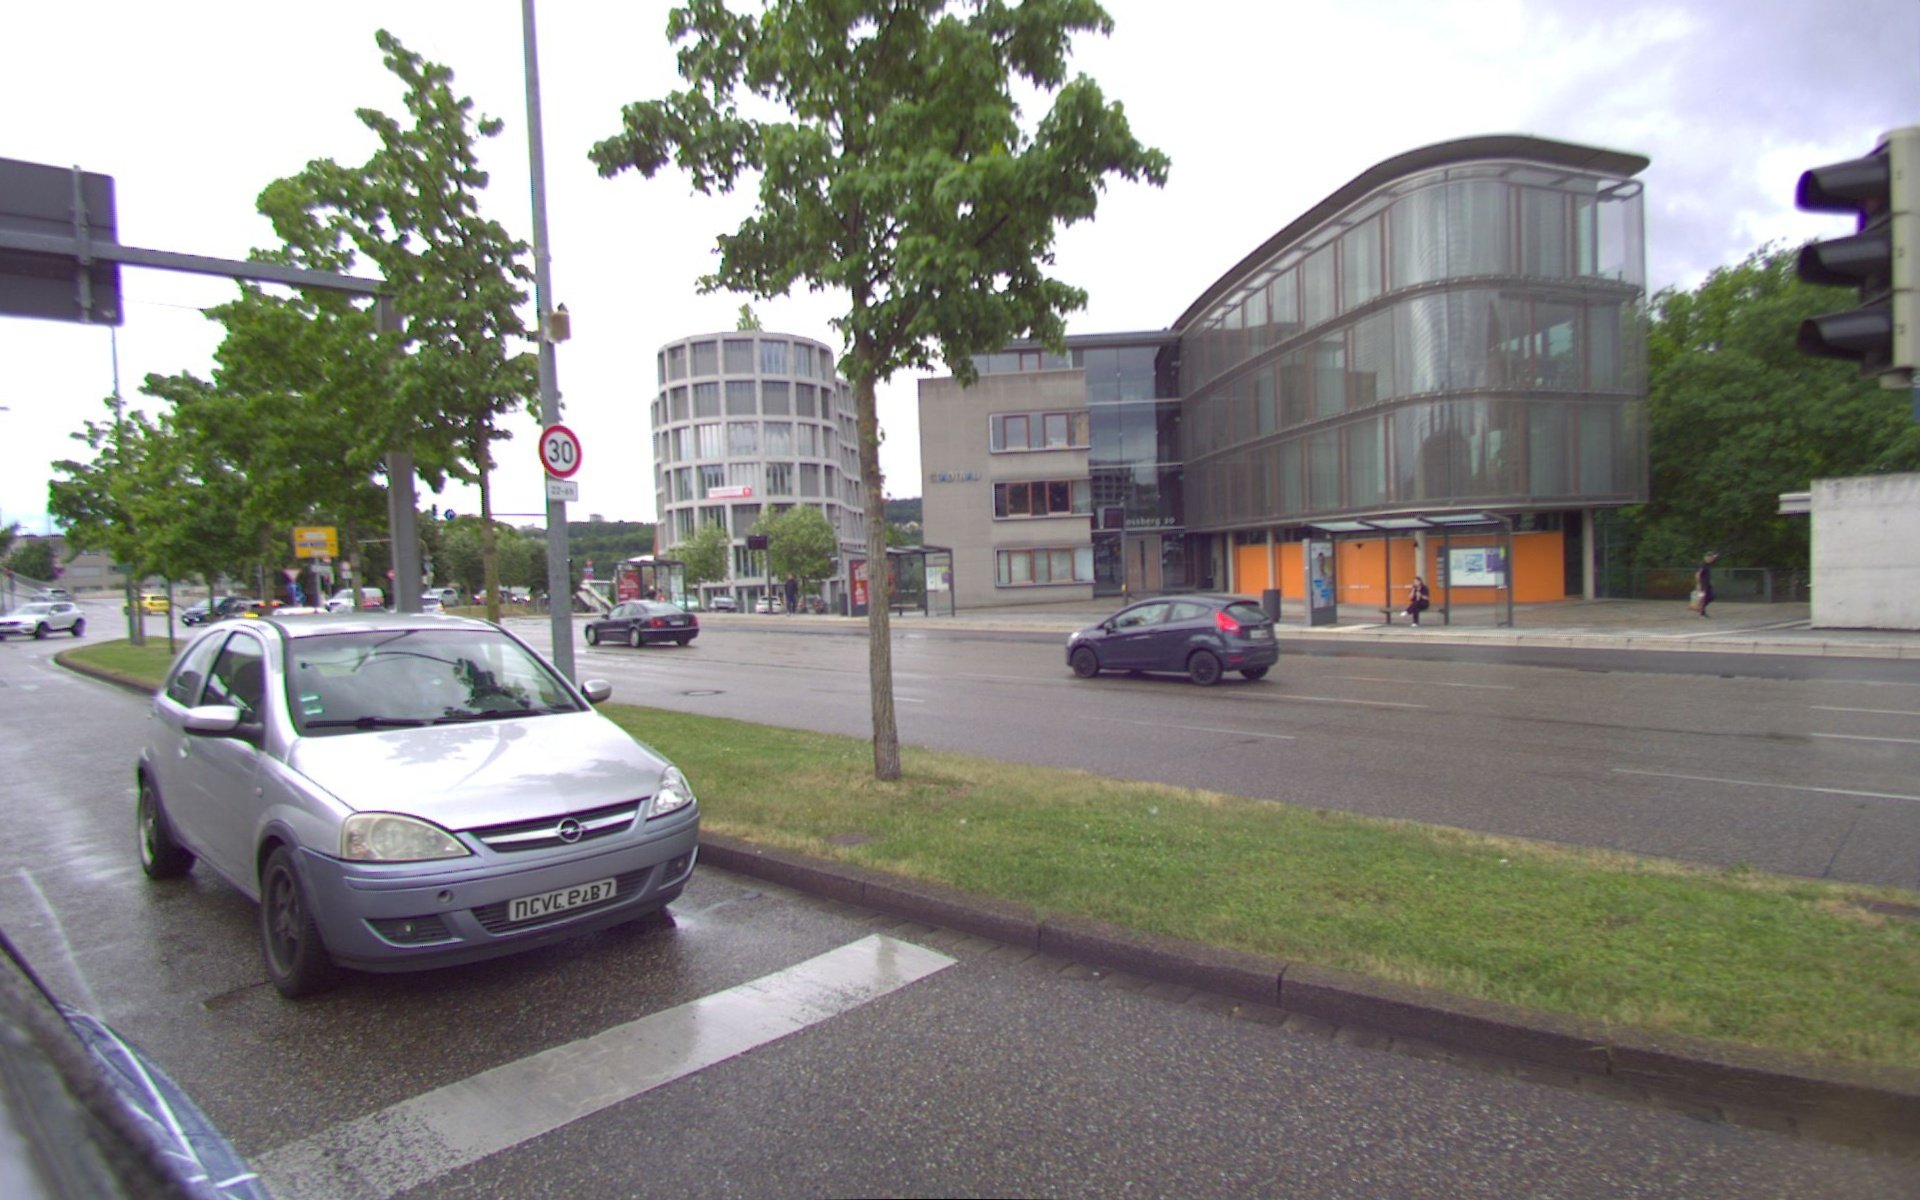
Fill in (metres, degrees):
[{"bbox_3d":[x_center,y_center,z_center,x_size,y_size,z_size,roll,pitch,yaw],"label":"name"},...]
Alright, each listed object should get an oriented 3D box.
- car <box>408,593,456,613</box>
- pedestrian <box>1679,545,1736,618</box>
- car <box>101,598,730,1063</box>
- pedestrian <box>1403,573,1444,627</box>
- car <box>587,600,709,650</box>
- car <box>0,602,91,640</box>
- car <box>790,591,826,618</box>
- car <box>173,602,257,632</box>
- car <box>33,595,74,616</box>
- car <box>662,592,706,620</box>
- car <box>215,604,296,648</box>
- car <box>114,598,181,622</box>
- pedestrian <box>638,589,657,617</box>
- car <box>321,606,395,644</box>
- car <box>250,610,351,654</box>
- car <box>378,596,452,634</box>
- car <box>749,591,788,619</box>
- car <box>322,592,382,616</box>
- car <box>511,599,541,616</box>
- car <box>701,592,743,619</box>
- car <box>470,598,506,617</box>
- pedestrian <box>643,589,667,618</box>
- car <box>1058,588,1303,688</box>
[{"bbox_3d":[-44.394,0.244,85.254,1.850,1.646,4.285,0,0,-1],"label":"car"},{"bbox_3d":[19.109,-0.462,25.875,0.773,1.768,0.828,-7,3,-26],"label":"pedestrian"},{"bbox_3d":[-2.956,0.745,5.127,3.720,1.476,1.676,0,0,42],"label":"car"},{"bbox_3d":[11.540,-0.001,25.207,0.658,1.309,0.721,-1,0,-41],"label":"pedestrian"},{"bbox_3d":[-9.708,0.732,31.344,4.001,1.433,1.934,0,0,44],"label":"car"},{"bbox_3d":[-42.533,0.916,46.640,1.846,1.646,4.311,-1,0,-11],"label":"car"},{"bbox_3d":[-9.943,0.285,66.366,1.850,1.714,4.159,0,0,-2],"label":"car"},{"bbox_3d":[-43.080,0.934,58.658,1.850,1.646,4.157,0,0,0],"label":"car"},{"bbox_3d":[-77.513,0.470,86.527,4.150,1.646,1.854,-1,0,37],"label":"car"},{"bbox_3d":[-17.928,0.378,65.966,1.850,1.714,4.159,0,0,-2],"label":"car"},{"bbox_3d":[-27.427,0.964,39.359,1.981,1.566,4.168,-1,0,-44],"label":"car"},{"bbox_3d":[-60.840,0.735,75.826,4.119,1.646,1.868,-1,0,15],"label":"car"},{"bbox_3d":[-16.557,0.164,53.662,0.722,1.501,0.736,-1,0,-38],"label":"pedestrian"},{"bbox_3d":[-25.219,1.018,42.333,1.675,1.476,4.456,-1,0,-44],"label":"car"},{"bbox_3d":[-22.385,1.030,34.304,4.166,1.363,1.983,0,0,44],"label":"car"},{"bbox_3d":[-25.249,0.668,46.844,1.933,1.630,4.211,-1,0,-44],"label":"car"},{"bbox_3d":[-12.433,0.315,66.006,1.850,1.714,4.159,-1,0,-2],"label":"car"},{"bbox_3d":[-43.762,0.279,72.941,1.851,1.646,4.156,0,0,1],"label":"car"},{"bbox_3d":[-47.347,0.799,110.571,1.865,1.726,4.224,-1,0,-6],"label":"car"},{"bbox_3d":[-15.448,0.356,65.924,1.850,1.714,4.159,0,0,-2],"label":"car"},{"bbox_3d":[-45.049,0.684,96.712,1.848,1.646,4.164,-1,0,-7],"label":"car"},{"bbox_3d":[-15.928,0.162,52.877,0.968,1.501,0.736,-1,0,-37],"label":"pedestrian"},{"bbox_3d":[3.701,0.585,17.445,1.657,1.523,3.867,-1,0,-43],"label":"car"}]
